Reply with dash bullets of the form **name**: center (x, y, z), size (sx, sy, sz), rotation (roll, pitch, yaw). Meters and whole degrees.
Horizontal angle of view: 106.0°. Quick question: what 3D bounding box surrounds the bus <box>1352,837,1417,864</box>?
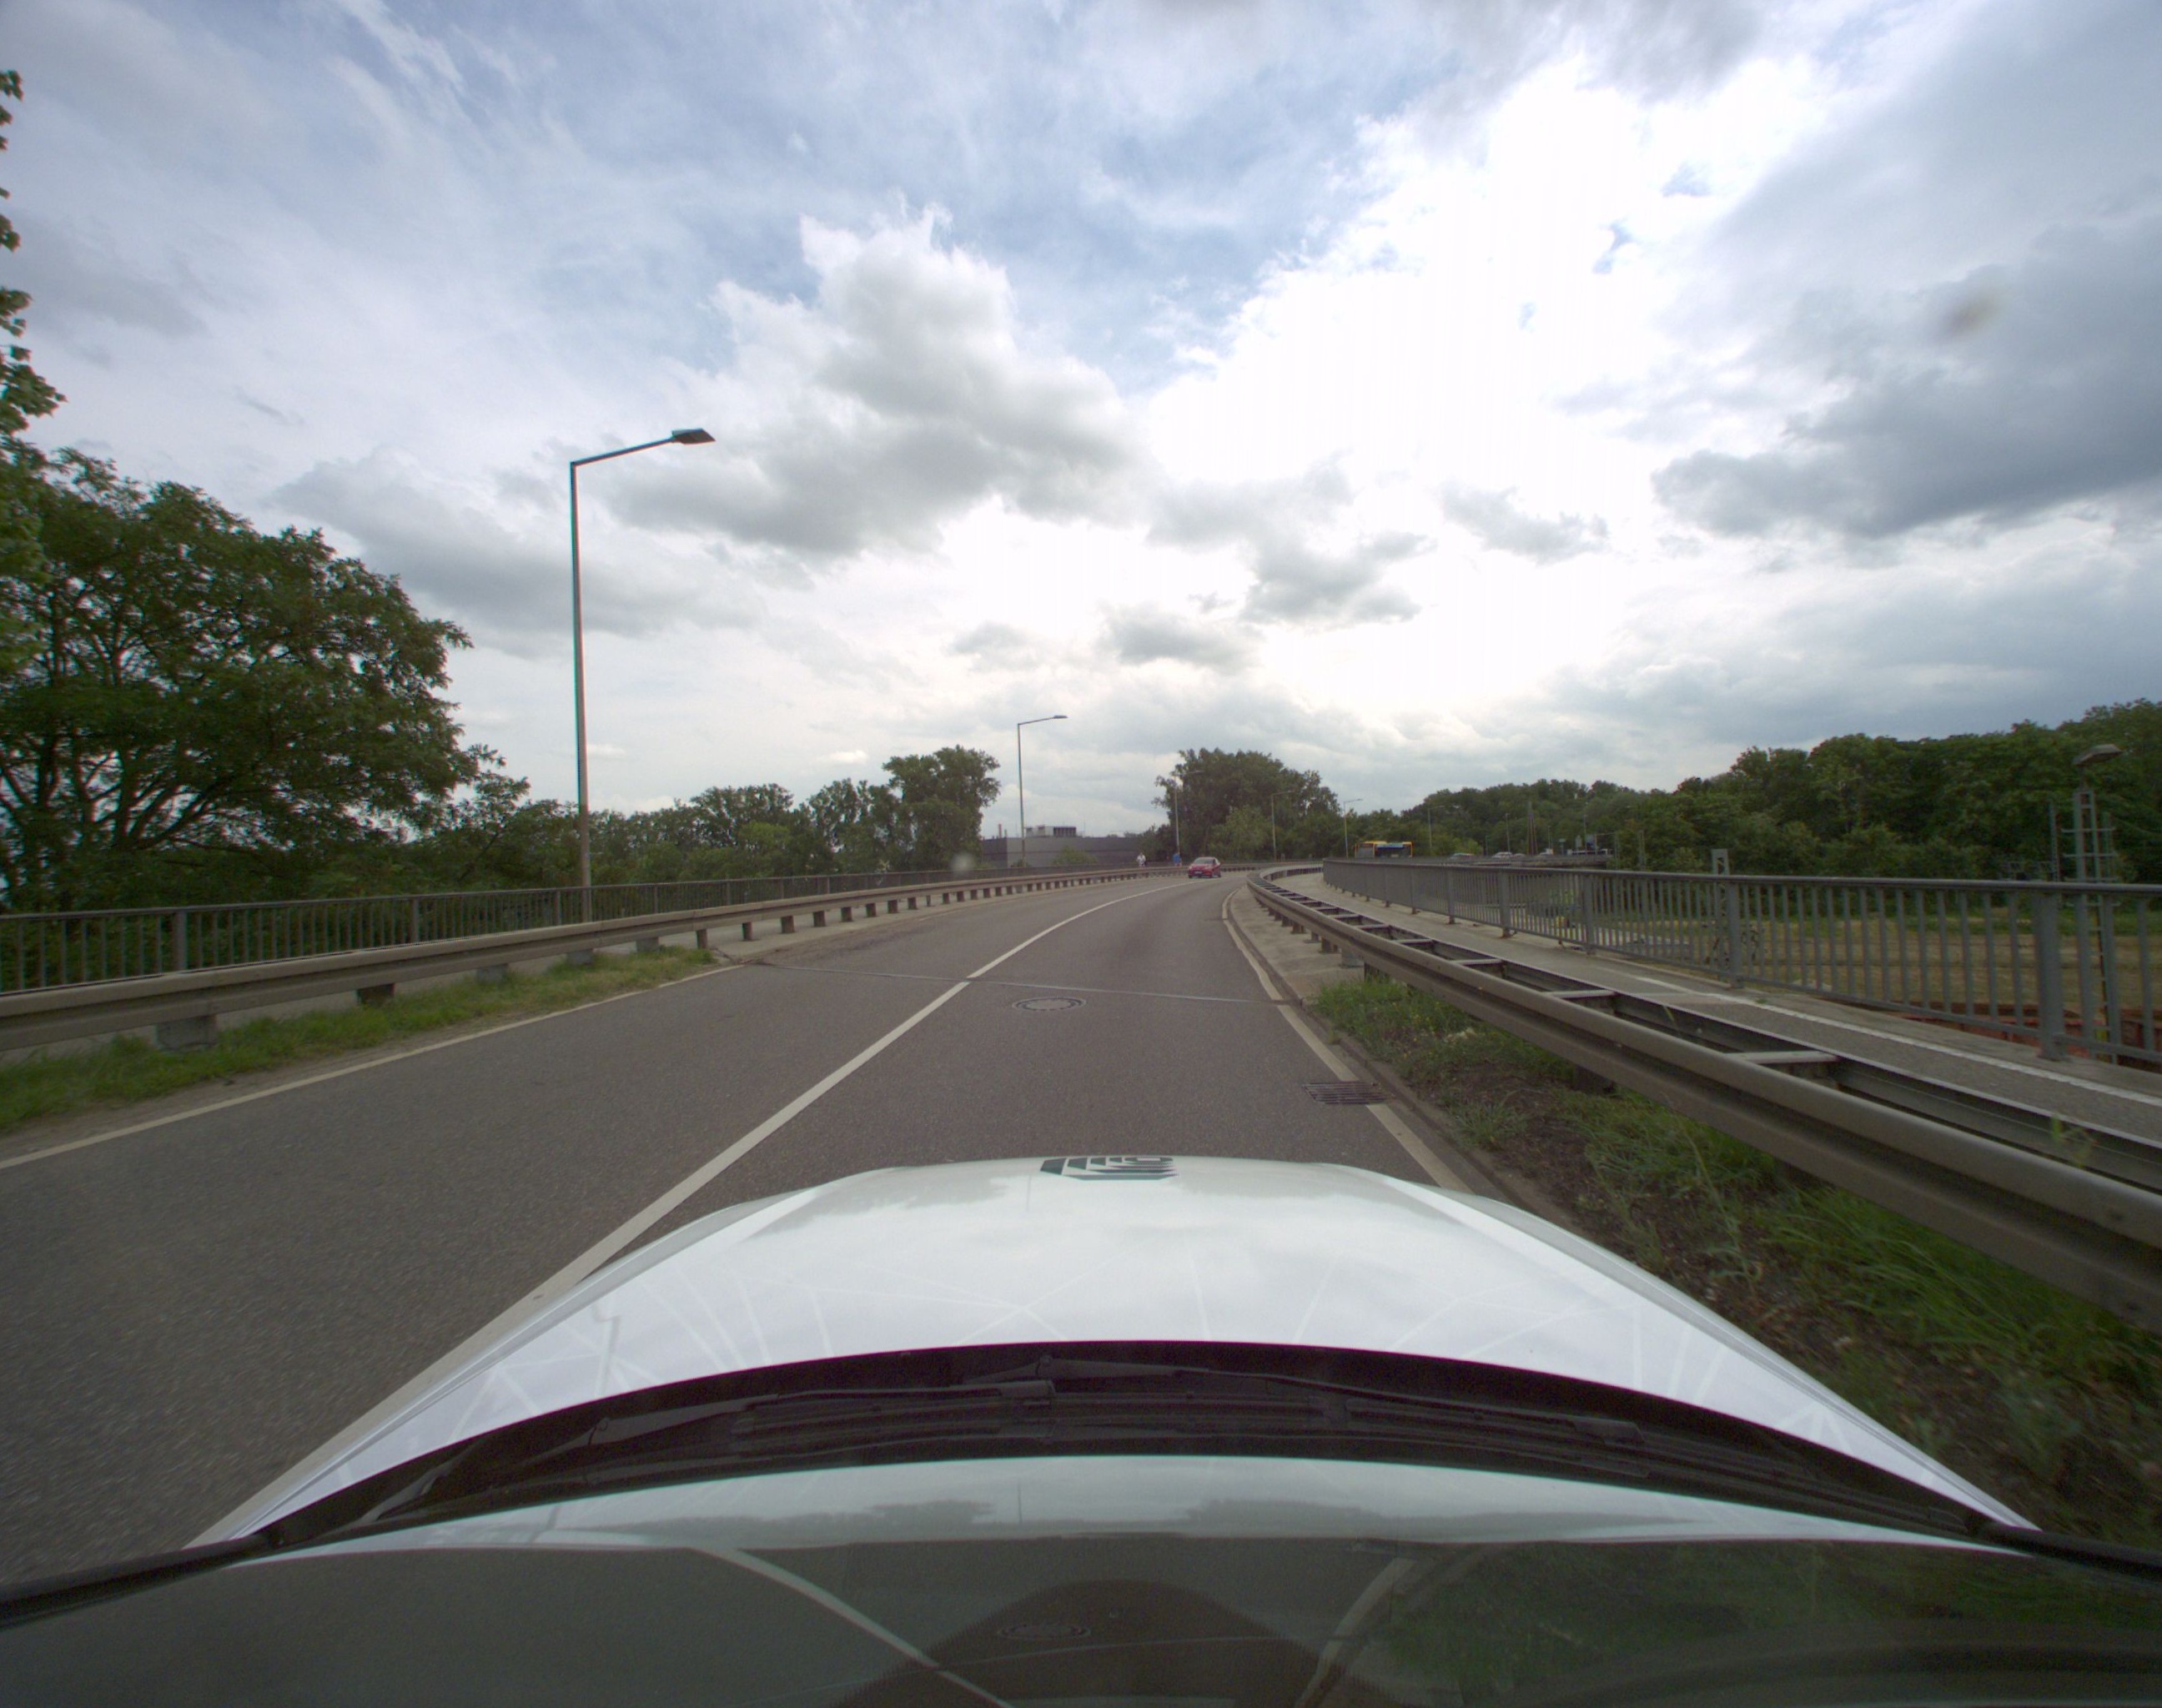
- **bus**: center (38.579, -0.381, 103.066), size (3.003, 3.233, 13.030), rotation (-2, -1, 42)

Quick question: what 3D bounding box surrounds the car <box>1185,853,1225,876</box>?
- **car**: center (8.643, 0.724, 56.565), size (1.743, 1.492, 4.022), rotation (-1, -1, 23)

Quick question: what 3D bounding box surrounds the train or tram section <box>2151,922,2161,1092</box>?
- **train or tram section**: center (40.900, 4.927, 21.969), size (14.075, 5.599, 3.681), rotation (-1, -1, 31)

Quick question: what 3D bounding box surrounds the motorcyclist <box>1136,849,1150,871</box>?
- **motorcyclist**: center (4.416, 0.427, 58.061), size (0.803, 1.529, 0.828), rotation (-1, -1, 17)

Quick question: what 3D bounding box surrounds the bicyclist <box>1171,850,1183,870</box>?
- **bicyclist**: center (7.504, 0.477, 63.752), size (0.604, 1.540, 0.762), rotation (-2, -1, 33)

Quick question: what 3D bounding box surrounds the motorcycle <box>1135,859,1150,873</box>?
- **motorcycle**: center (4.411, 0.852, 57.991), size (0.620, 0.963, 1.848), rotation (-1, -1, 19)

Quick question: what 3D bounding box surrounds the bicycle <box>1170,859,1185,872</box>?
- **bicycle**: center (7.554, 0.901, 63.757), size (0.488, 1.045, 1.821), rotation (-1, -1, 29)

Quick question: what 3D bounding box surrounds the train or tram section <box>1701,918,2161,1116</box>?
- **train or tram section**: center (30.316, 5.255, 28.310), size (13.477, 5.574, 3.675), rotation (-1, -1, 30)
